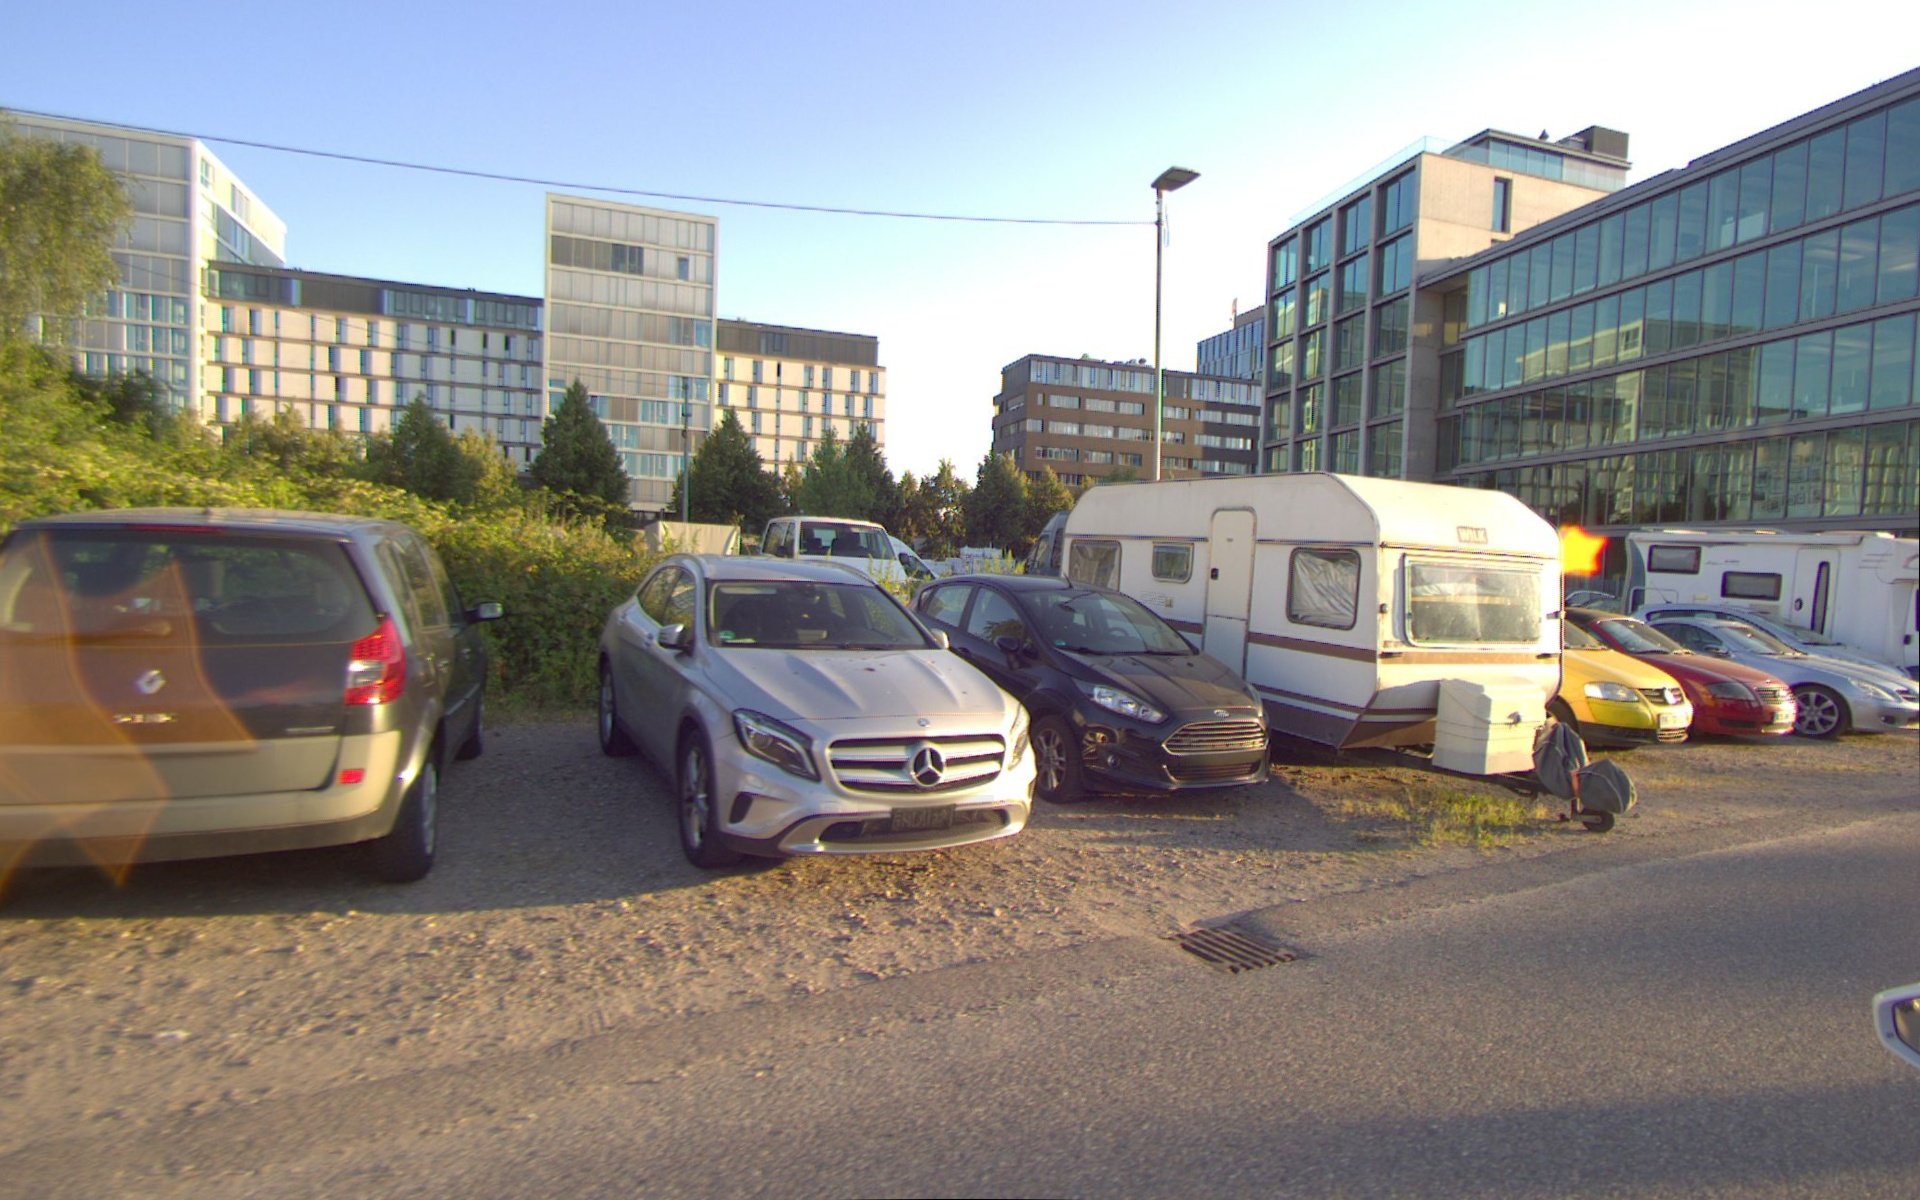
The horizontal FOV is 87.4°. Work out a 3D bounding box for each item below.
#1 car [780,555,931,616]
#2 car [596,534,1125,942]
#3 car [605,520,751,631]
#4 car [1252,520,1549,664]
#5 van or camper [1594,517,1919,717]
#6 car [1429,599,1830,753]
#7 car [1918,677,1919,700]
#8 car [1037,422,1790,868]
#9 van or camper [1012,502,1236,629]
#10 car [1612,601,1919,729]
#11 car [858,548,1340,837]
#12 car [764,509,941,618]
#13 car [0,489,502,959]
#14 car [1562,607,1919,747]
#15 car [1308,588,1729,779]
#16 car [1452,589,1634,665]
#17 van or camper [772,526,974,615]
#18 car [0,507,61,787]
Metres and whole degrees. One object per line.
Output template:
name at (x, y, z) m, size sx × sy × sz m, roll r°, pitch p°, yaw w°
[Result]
car at (-2.765, -0.373, 26.533) m, size 3.631 × 1.481 × 1.700 m, roll 1°, pitch 1°, yaw -23°
car at (-0.986, 0.476, 6.287) m, size 1.727 × 1.612 × 4.106 m, roll 2°, pitch 3°, yaw -30°
car at (-4.465, -0.415, 15.558) m, size 1.643 × 1.496 × 3.593 m, roll 1°, pitch 3°, yaw -24°
car at (9.340, -0.292, 22.184) m, size 2.190 × 2.709 × 6.231 m, roll 1°, pitch 3°, yaw -21°
van or camper at (14.624, 0.211, 16.565) m, size 2.376 × 2.937 × 6.718 m, roll 1°, pitch 2°, yaw -25°
car at (8.007, 0.795, 12.377) m, size 1.685 × 1.385 × 3.708 m, roll 1°, pitch 3°, yaw -29°
car at (18.637, 1.060, 16.855) m, size 4.289 × 1.539 × 1.686 m, roll 2°, pitch 2°, yaw -16°
car at (3.206, 0.117, 8.938) m, size 2.379 × 2.568 × 5.869 m, roll 2°, pitch 3°, yaw -25°
van or camper at (2.717, -0.634, 17.813) m, size 1.904 × 1.916 × 4.327 m, roll 1°, pitch 3°, yaw -22°
car at (12.343, 0.885, 15.336) m, size 1.673 × 1.496 × 3.585 m, roll 1°, pitch 3°, yaw -31°
car at (0.782, 0.481, 8.124) m, size 1.726 × 1.612 × 4.108 m, roll 2°, pitch 3°, yaw -28°
car at (-1.924, -0.621, 16.489) m, size 1.951 × 1.496 × 4.361 m, roll 1°, pitch 3°, yaw -19°
car at (-3.527, 0.355, 5.450) m, size 1.723 × 1.612 × 3.916 m, roll 1°, pitch 2°, yaw -23°
car at (10.400, 0.892, 13.328) m, size 1.671 × 1.346 × 3.792 m, roll 1°, pitch 3°, yaw -28°
car at (5.824, 0.739, 10.925) m, size 1.685 × 1.539 × 3.611 m, roll 1°, pitch 3°, yaw -29°
car at (13.418, 0.576, 23.332) m, size 1.492 × 1.467 × 3.432 m, roll 1°, pitch 3°, yaw -21°
van or camper at (-2.959, -0.982, 34.508) m, size 6.544 × 2.726 × 2.010 m, roll 2°, pitch 3°, yaw -23°
car at (-5.837, 0.280, 4.646) m, size 1.728 × 1.612 × 3.905 m, roll 3°, pitch 1°, yaw -31°
